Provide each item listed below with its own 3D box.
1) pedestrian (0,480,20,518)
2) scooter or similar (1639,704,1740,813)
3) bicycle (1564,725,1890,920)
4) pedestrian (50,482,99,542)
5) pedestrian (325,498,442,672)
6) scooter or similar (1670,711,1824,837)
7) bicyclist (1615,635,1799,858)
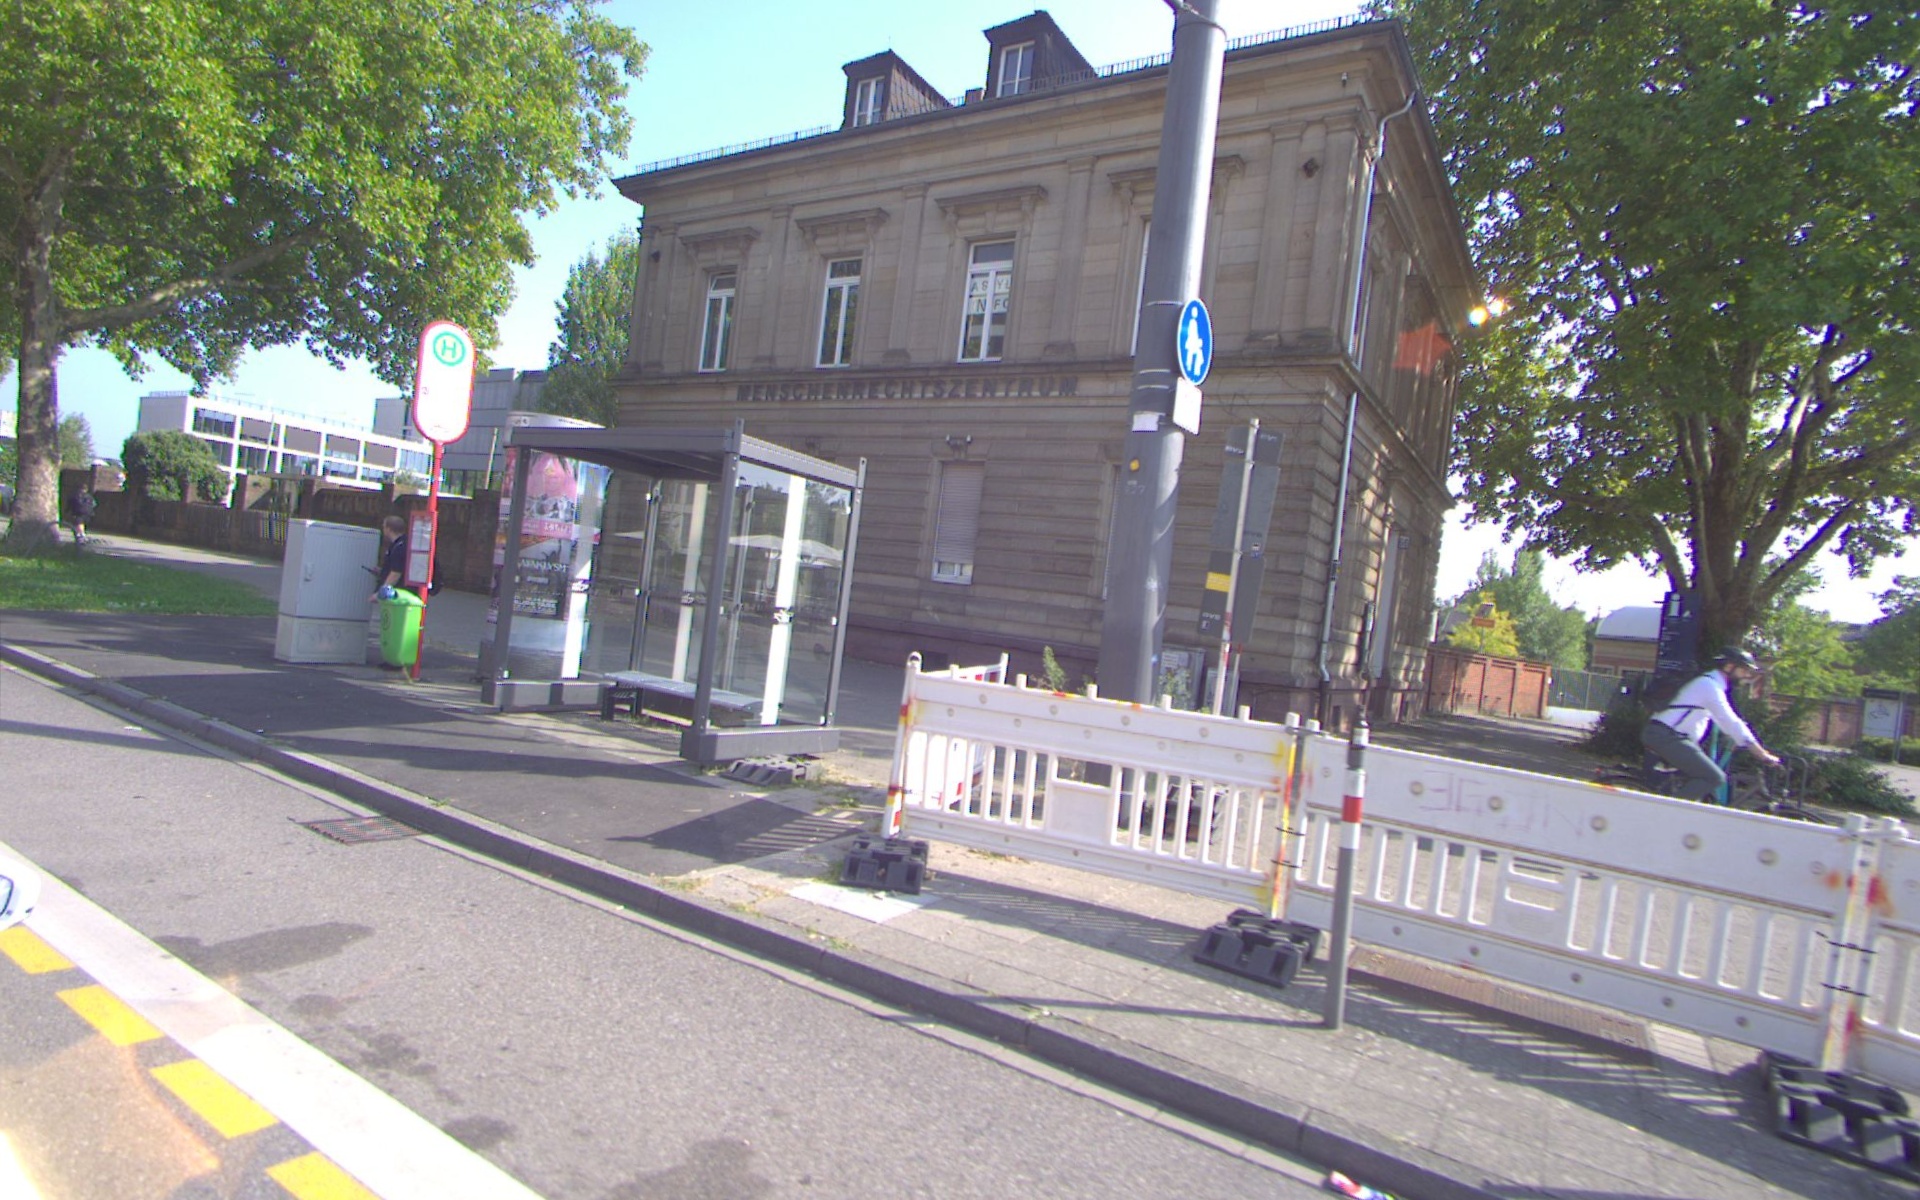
[{"bbox_3d":[-42.825,-4.553,45.068,0.932,1.625,0.806,7,2,33],"label":"pedestrian"},{"bbox_3d":[9.846,2.112,13.629,0.414,1.225,1.255,8,2,8],"label":"scooter or similar"},{"bbox_3d":[5.954,1.692,7.981,1.871,1.055,0.718,7,1,31],"label":"bicycle"},{"bbox_3d":[-27.465,-2.713,31.197,0.996,1.708,0.819,7,2,33],"label":"pedestrian"},{"bbox_3d":[-6.069,-0.152,10.621,0.636,1.718,0.690,7,1,12],"label":"pedestrian"},{"bbox_3d":[9.440,2.062,12.108,0.418,1.226,1.243,6,3,-34],"label":"scooter or similar"},{"bbox_3d":[5.912,1.123,8.035,0.939,1.562,0.718,7,1,31],"label":"bicyclist"}]
